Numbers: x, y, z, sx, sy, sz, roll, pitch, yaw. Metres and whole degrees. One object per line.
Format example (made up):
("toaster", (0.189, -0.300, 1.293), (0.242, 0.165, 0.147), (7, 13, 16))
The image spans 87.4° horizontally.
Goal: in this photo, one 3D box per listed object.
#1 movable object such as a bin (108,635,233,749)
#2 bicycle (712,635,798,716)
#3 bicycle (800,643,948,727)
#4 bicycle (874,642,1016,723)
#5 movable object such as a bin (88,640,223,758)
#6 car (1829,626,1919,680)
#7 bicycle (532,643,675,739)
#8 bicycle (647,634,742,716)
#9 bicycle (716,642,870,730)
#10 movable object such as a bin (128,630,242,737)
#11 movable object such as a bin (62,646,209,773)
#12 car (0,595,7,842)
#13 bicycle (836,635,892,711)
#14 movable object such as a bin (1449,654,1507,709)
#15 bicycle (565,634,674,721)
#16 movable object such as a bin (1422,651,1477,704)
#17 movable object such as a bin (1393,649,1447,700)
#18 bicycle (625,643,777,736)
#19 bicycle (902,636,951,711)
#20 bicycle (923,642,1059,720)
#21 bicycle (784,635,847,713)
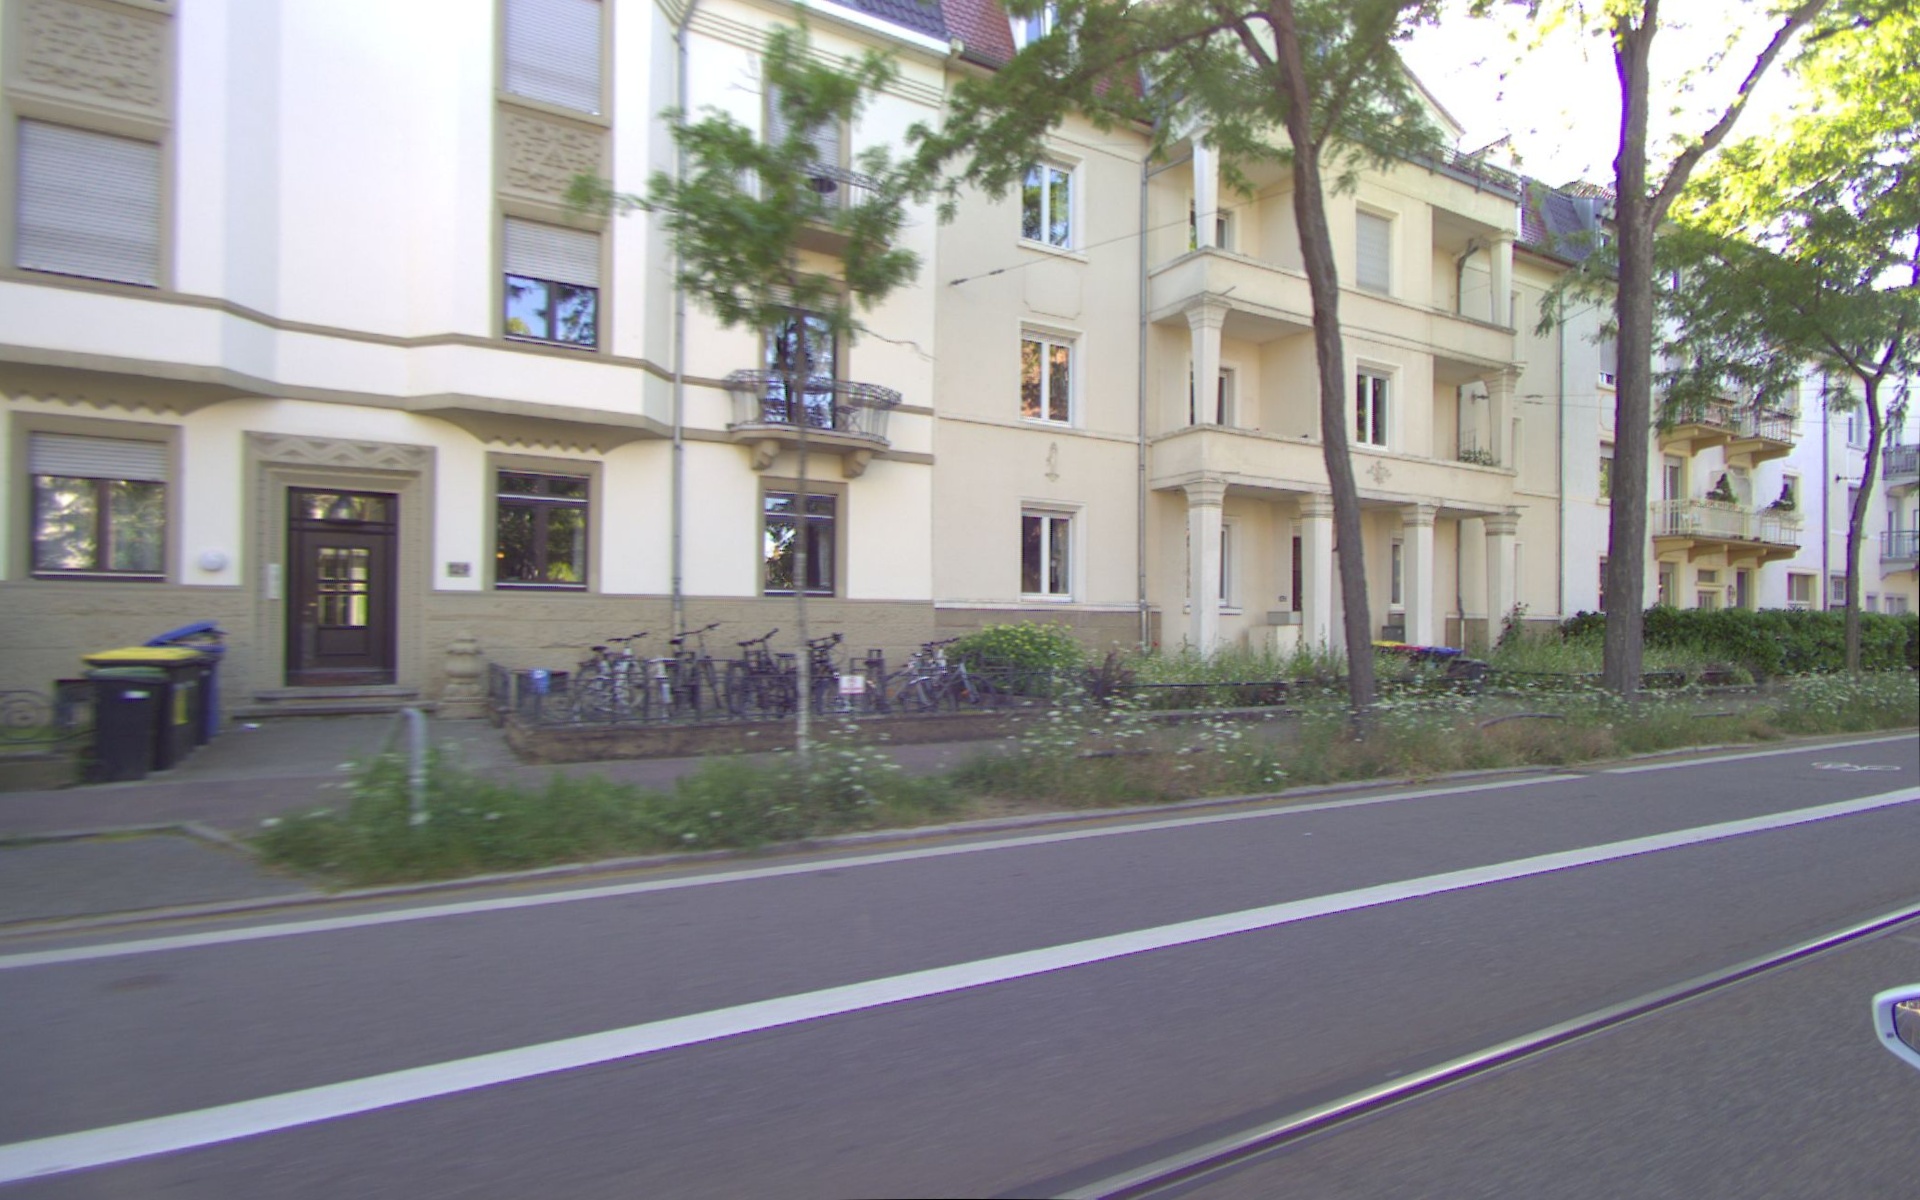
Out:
("movable object such as a bin", (-8.106, 0.920, 10.358), (0.885, 1.099, 0.734), (1, -1, -30))
("bicycle", (-2.950, 1.060, 14.630), (0.547, 1.010, 1.863), (1, 1, 11))
("bicycle", (-1.116, 1.084, 13.072), (1.825, 1.010, 0.558), (0, -1, 17))
("bicycle", (-0.206, 1.094, 13.541), (1.825, 1.010, 0.558), (0, -1, 17))
("movable object such as a bin", (-7.731, 0.926, 9.696), (0.885, 1.068, 0.734), (1, -1, -30))
("car", (32.278, 1.794, 33.714), (1.928, 1.683, 4.283), (1, 0, -28))
("bicycle", (-4.205, 1.038, 11.807), (1.830, 1.010, 0.557), (0, -1, 32))
("bicycle", (-3.756, 1.029, 14.347), (0.547, 1.010, 1.863), (1, 1, 11))
("bicycle", (-2.085, 1.055, 12.560), (1.825, 1.010, 0.558), (0, -1, 17))
("movable object such as a bin", (-8.570, 0.900, 11.149), (0.885, 1.128, 0.734), (1, -1, -30))
("movable object such as a bin", (-7.373, 0.948, 9.034), (0.885, 1.055, 0.734), (1, -1, -30))
("car", (-7.183, 0.711, 4.700), (3.649, 1.555, 1.616), (2, 0, -32))
("bicycle", (-1.448, 1.086, 15.426), (0.547, 1.010, 1.863), (1, 1, 4))
("movable object such as a bin", (9.412, 1.464, 18.256), (0.731, 0.934, 0.625), (1, 0, -30))
("bicycle", (-4.606, 1.016, 13.719), (0.547, 1.010, 1.863), (1, 1, 11))
("movable object such as a bin", (9.238, 1.454, 18.963), (0.731, 0.934, 0.625), (1, 0, -30))
("movable object such as a bin", (8.950, 1.443, 19.537), (0.731, 0.934, 0.625), (1, 0, -30))
("bicycle", (-3.104, 1.036, 11.991), (1.827, 1.010, 0.558), (0, -1, 27))
("bicycle", (-0.499, 1.110, 15.639), (0.547, 1.010, 1.863), (1, 1, 4))
("bicycle", (0.436, 1.116, 14.090), (1.825, 1.010, 0.558), (0, -1, 17))
("bicycle", (-2.148, 1.079, 15.112), (0.547, 1.010, 1.863), (1, 1, 4))
